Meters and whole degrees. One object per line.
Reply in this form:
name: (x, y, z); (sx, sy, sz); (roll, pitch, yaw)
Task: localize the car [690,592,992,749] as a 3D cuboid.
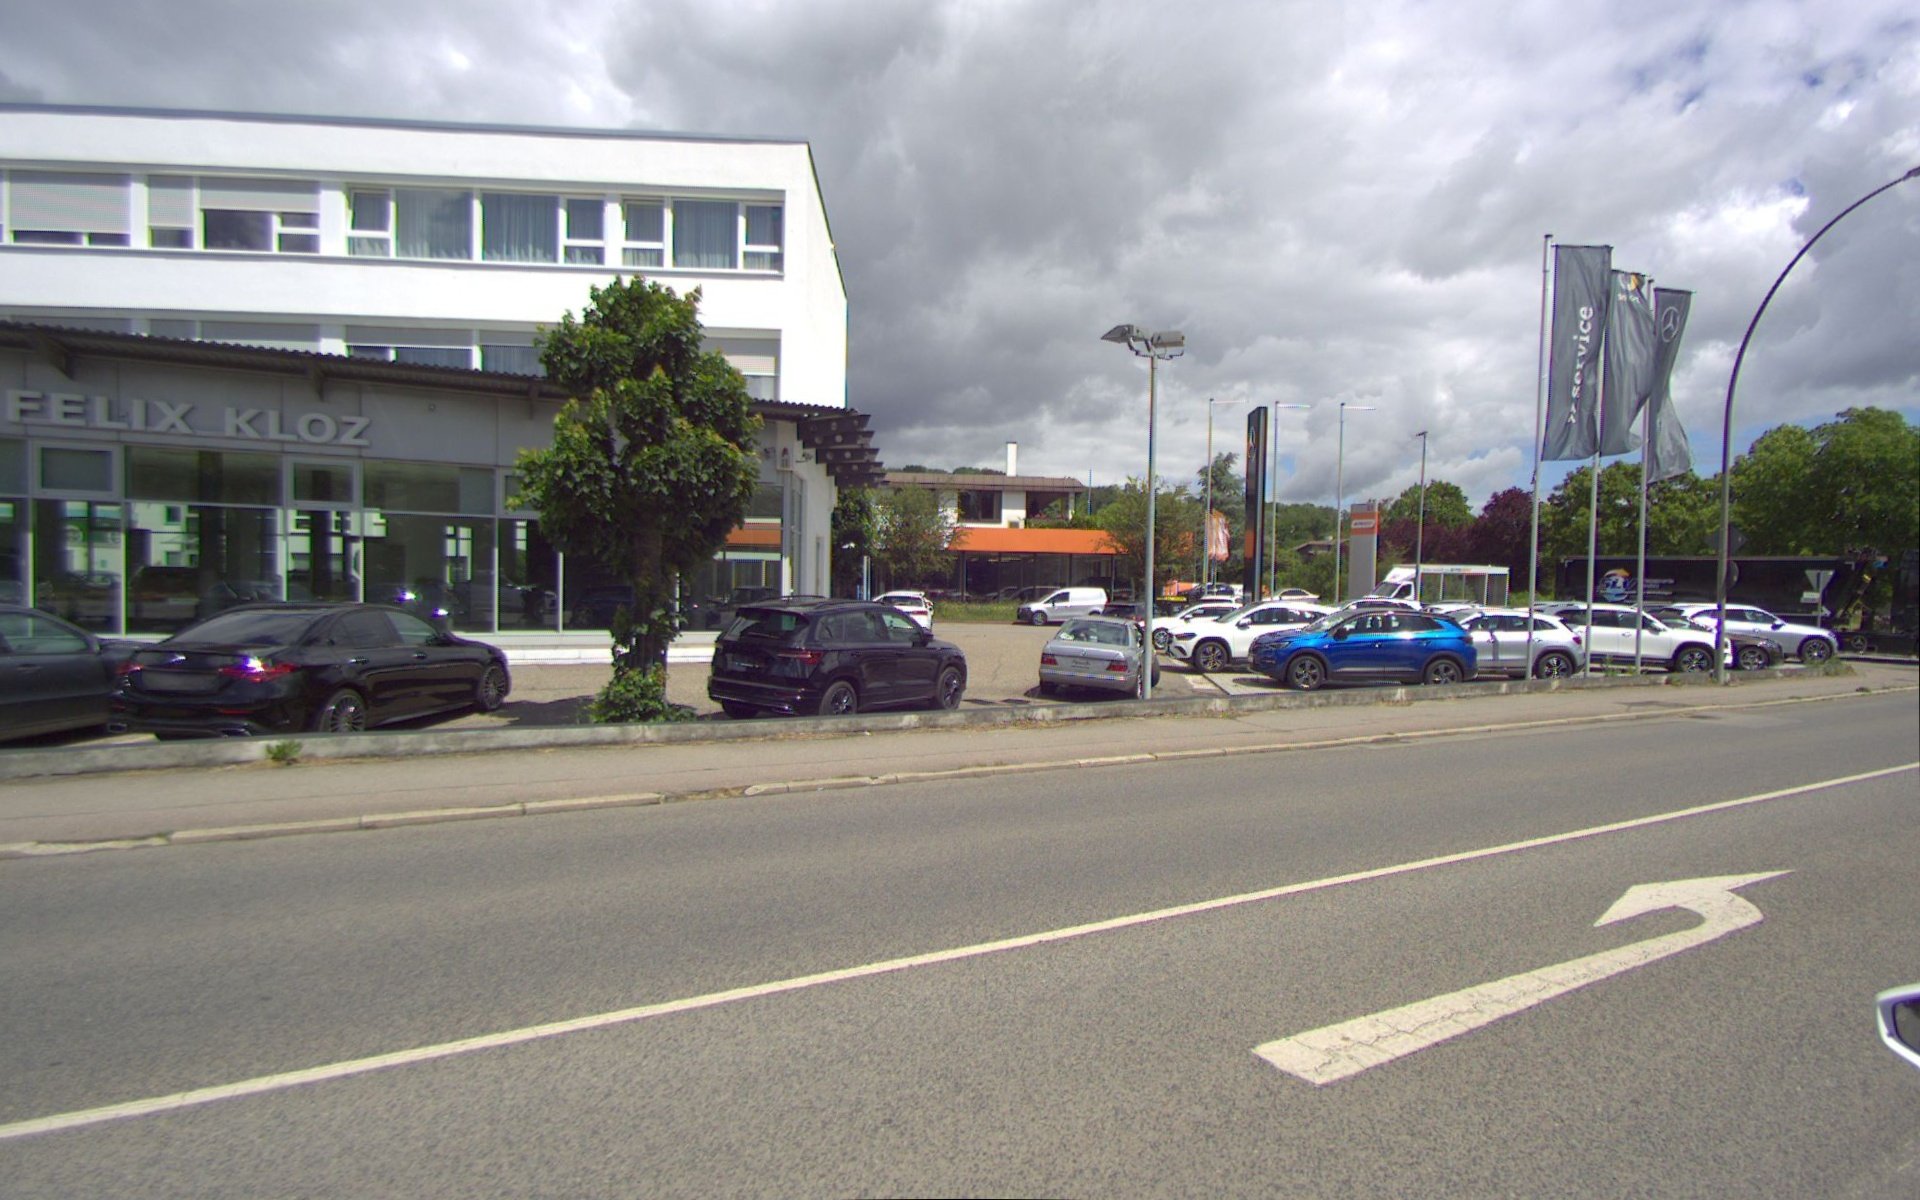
car: (-1.431, 0.786, 13.788); (1.772, 1.647, 4.342); (5, 3, 31)

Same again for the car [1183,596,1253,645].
car: (9.570, 0.726, 37.080); (1.812, 1.651, 3.997); (1, 0, 24)

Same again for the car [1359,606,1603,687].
car: (11.532, 1.006, 22.470); (4.430, 1.587, 1.874); (1, 2, 3)

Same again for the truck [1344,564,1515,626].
truck: (25.284, -0.234, 54.164); (8.441, 3.090, 2.658); (1, 0, -12)

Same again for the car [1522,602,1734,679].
car: (16.839, 0.970, 25.615); (4.218, 1.700, 1.935); (2, 1, 26)

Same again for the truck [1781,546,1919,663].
truck: (32.420, 0.168, 34.881); (2.959, 3.874, 5.509); (1, 0, -39)

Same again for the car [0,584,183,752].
car: (-9.519, 0.593, 8.957); (1.767, 1.514, 3.957); (1, 0, 8)

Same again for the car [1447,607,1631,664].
car: (17.673, 1.056, 30.826); (4.467, 1.487, 1.868); (1, 2, 6)

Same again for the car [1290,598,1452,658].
car: (12.805, 0.838, 31.566); (4.344, 1.638, 1.868); (2, 2, 9)

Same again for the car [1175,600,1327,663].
car: (8.253, 0.875, 28.803); (3.875, 1.647, 1.804); (1, 1, 5)

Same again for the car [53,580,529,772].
car: (-6.911, 0.623, 11.193); (2.021, 1.647, 4.637); (1, 1, 3)

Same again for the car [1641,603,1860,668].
car: (23.251, 1.007, 29.753); (4.646, 1.626, 1.989); (2, 2, 10)

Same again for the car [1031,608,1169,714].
car: (2.736, 1.001, 18.705); (1.768, 1.409, 4.598); (4, 3, 17)

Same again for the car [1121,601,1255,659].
car: (7.140, 0.921, 31.753); (3.875, 1.647, 1.804); (1, 1, 5)

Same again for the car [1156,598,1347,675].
car: (6.726, 0.814, 23.429); (3.879, 1.647, 1.803); (1, 1, -4)

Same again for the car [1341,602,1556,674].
car: (12.098, 0.912, 25.131); (4.430, 1.587, 1.874); (1, 2, 3)

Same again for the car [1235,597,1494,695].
car: (8.099, 0.884, 20.476); (4.479, 1.691, 1.894); (2, 2, 3)

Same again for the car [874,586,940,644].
car: (-1.630, 0.436, 32.052); (1.890, 1.611, 4.583); (3, 0, -1)

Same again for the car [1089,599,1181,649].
car: (6.386, 0.811, 36.353); (1.774, 1.647, 3.941); (2, 2, 35)

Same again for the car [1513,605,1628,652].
car: (22.314, 1.016, 36.669); (4.715, 1.623, 1.787); (1, 0, -34)

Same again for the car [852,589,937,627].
car: (-3.092, 0.367, 47.409); (3.924, 1.615, 1.730); (2, 1, -4)

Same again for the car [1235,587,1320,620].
car: (19.509, 0.210, 61.858); (4.586, 1.870, 1.831); (1, 1, -6)

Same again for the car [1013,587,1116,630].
car: (4.964, 0.394, 47.984); (4.586, 1.870, 1.831); (1, 1, -6)

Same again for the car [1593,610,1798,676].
car: (19.927, 1.120, 27.459); (4.250, 1.485, 1.793); (2, 3, 28)

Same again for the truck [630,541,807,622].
truck: (-11.249, -0.849, 47.219); (7.668, 3.469, 2.446); (2, 1, -2)

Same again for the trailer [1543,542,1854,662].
trailer: (28.260, -0.016, 38.940); (9.325, 4.137, 3.304); (2, 0, 40)
